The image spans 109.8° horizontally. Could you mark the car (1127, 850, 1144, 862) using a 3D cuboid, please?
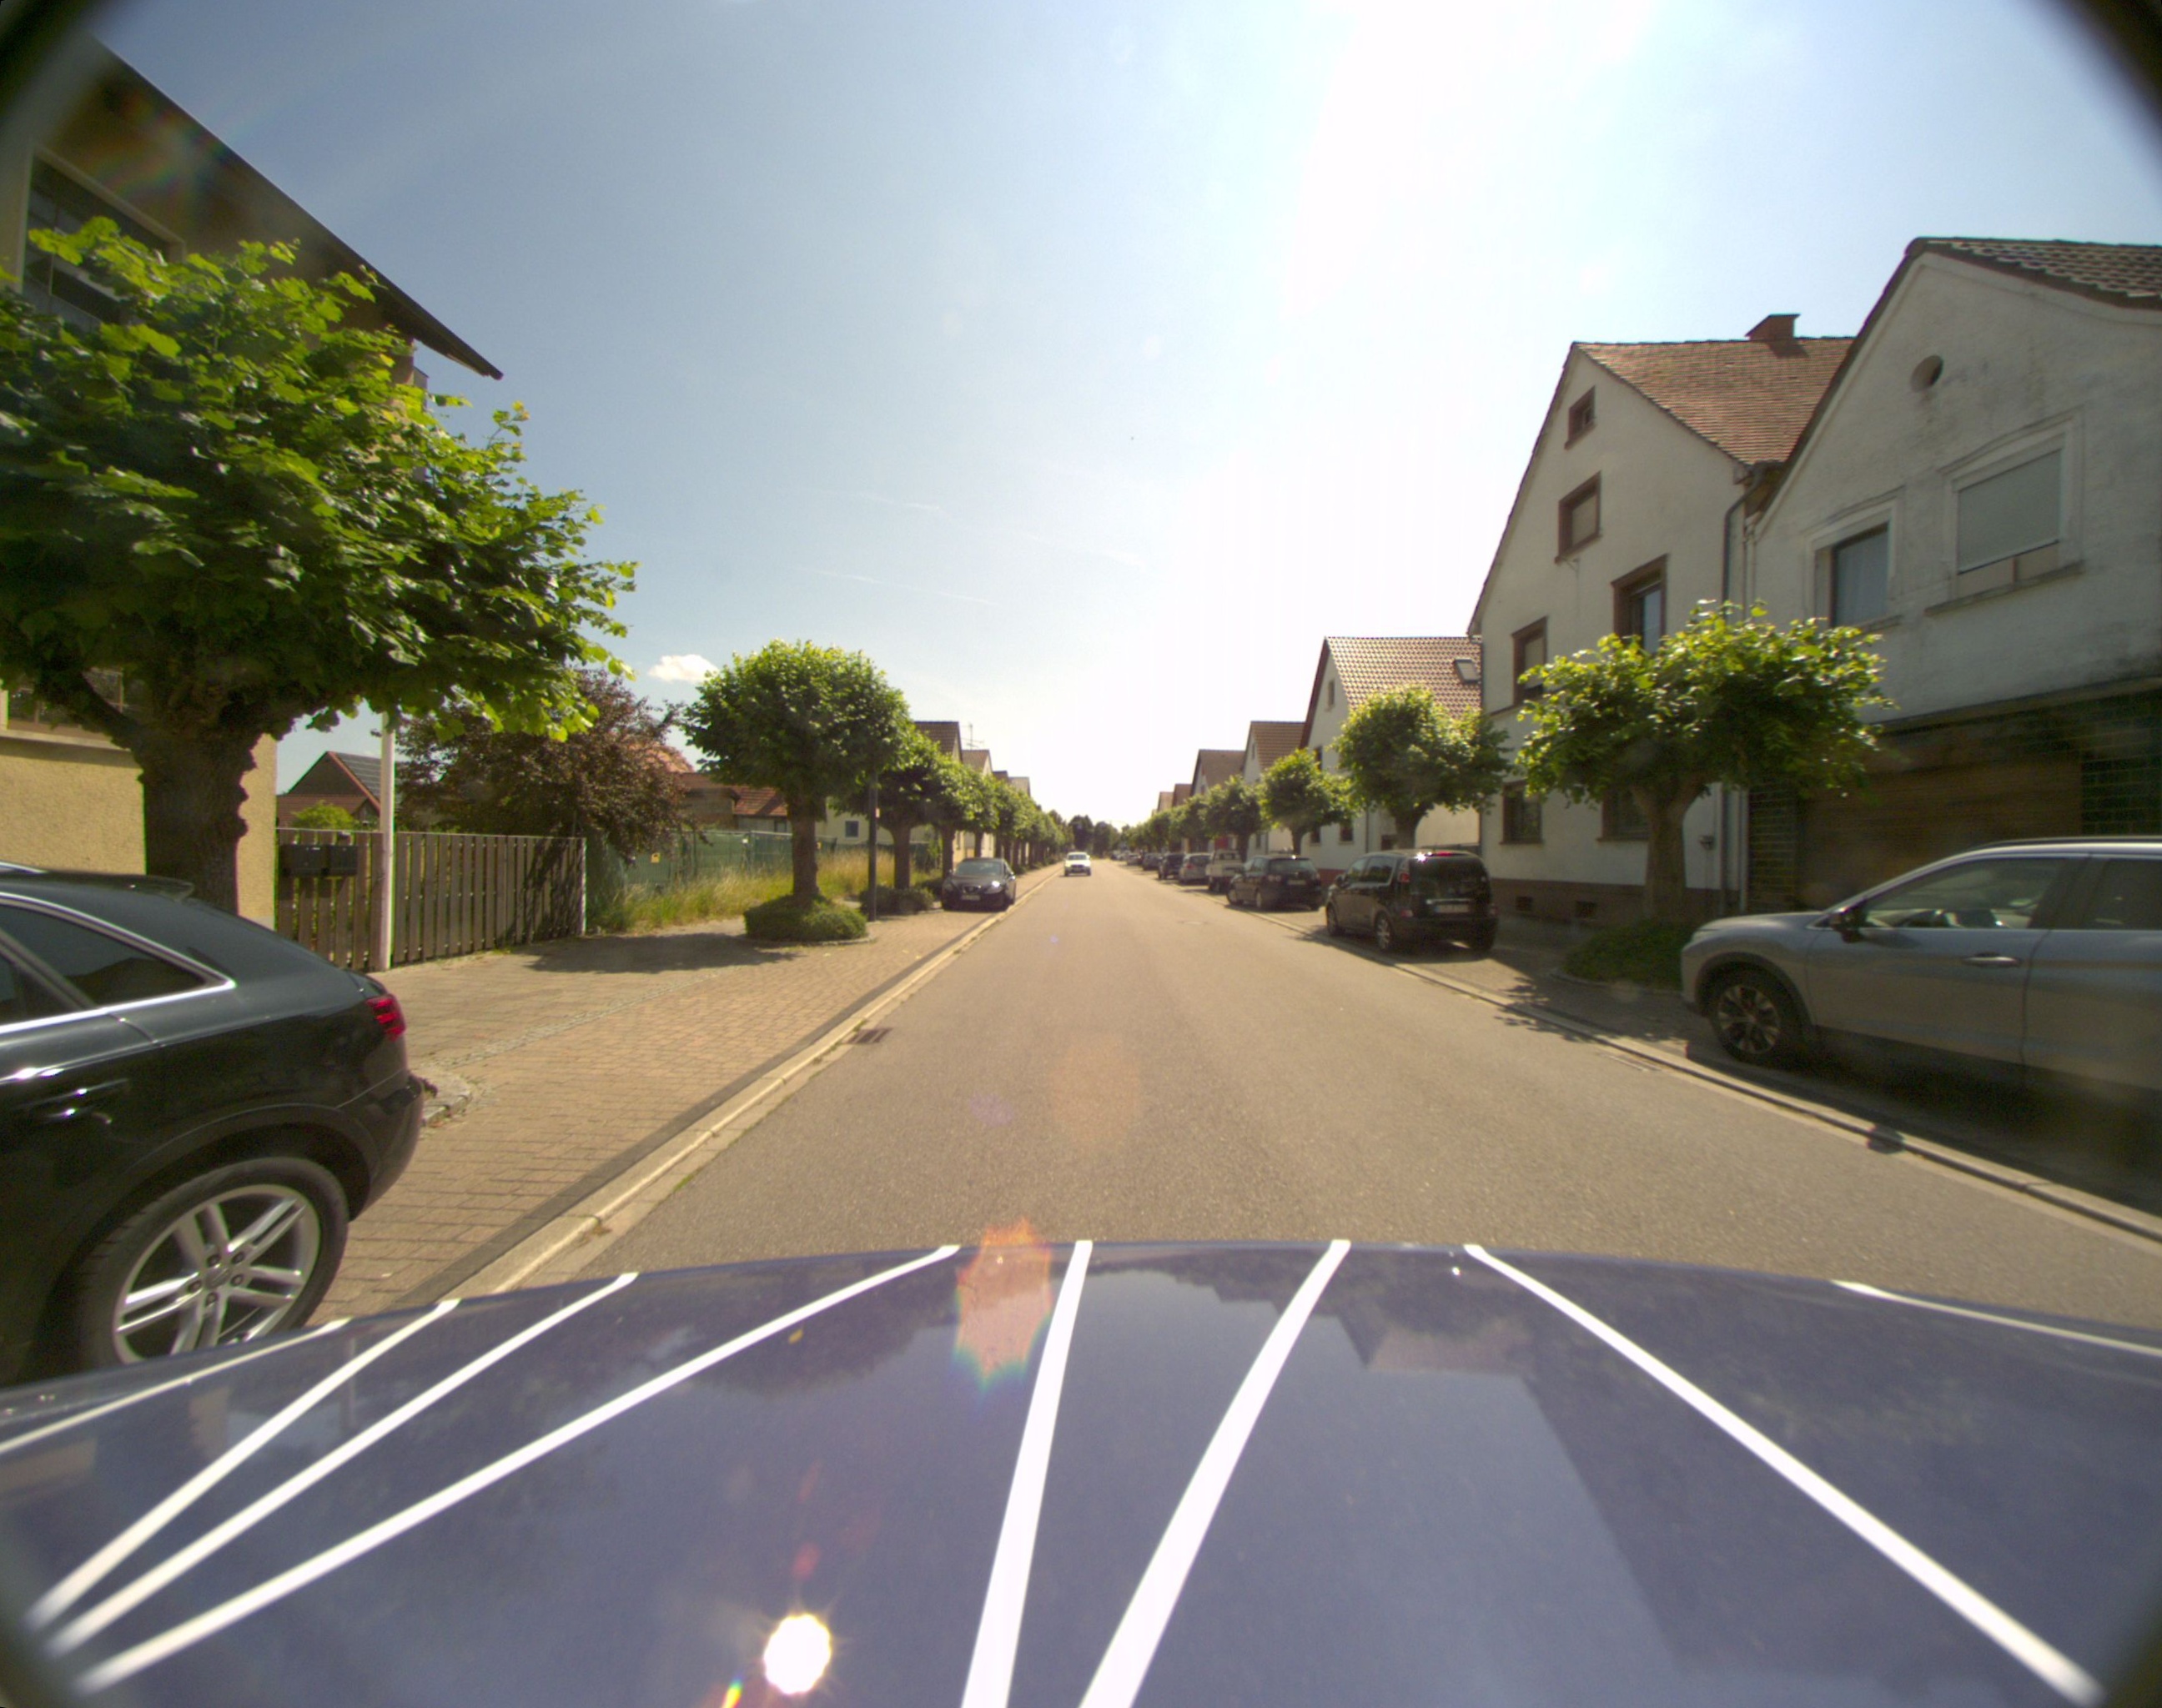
[{"bbox_3d":[6.850,0.254,96.004,1.829,1.474,4.132,-2,1,1],"label":"car"}]

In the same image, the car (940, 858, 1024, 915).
[{"bbox_3d":[-2.767,0.860,22.000,1.829,1.424,4.056,2,0,0],"label":"car"}]

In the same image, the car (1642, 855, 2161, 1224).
[{"bbox_3d":[5.834,0.844,4.258,1.999,1.643,4.366,0,0,-3],"label":"car"}]

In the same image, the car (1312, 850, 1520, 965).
[{"bbox_3d":[5.612,0.790,13.340,1.857,1.626,4.056,-2,1,0],"label":"car"}]

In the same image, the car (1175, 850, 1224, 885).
[{"bbox_3d":[6.139,0.668,39.674,1.857,1.604,4.370,-2,1,0],"label":"car"}]

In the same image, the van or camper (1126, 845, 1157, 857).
[{"bbox_3d":[9.866,-0.460,123.824,4.752,1.851,2.000,-2,0,0],"label":"van or camper"}]

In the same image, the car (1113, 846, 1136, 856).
[{"bbox_3d":[8.465,-0.618,148.009,4.251,1.709,1.944,-2,1,-5],"label":"car"}]

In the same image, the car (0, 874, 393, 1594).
[{"bbox_3d":[-3.441,0.872,0.650,1.828,1.576,4.058,2,0,4],"label":"car"}]

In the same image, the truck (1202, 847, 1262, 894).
[{"bbox_3d":[6.153,0.625,31.368,1.580,1.755,4.191,-2,1,0],"label":"truck"}]

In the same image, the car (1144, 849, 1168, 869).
[{"bbox_3d":[6.619,0.406,67.672,1.857,1.604,4.135,-2,1,2],"label":"car"}]

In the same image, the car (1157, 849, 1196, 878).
[{"bbox_3d":[5.832,0.585,46.855,1.857,1.627,4.299,-2,0,0],"label":"car"}]

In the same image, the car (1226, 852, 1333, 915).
[{"bbox_3d":[5.709,0.777,22.402,1.791,1.624,3.998,-1,1,-5],"label":"car"}]

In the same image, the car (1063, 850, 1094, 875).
[{"bbox_3d":[-0.123,0.539,52.474,1.857,1.604,4.135,-2,1,2],"label":"car"}]
